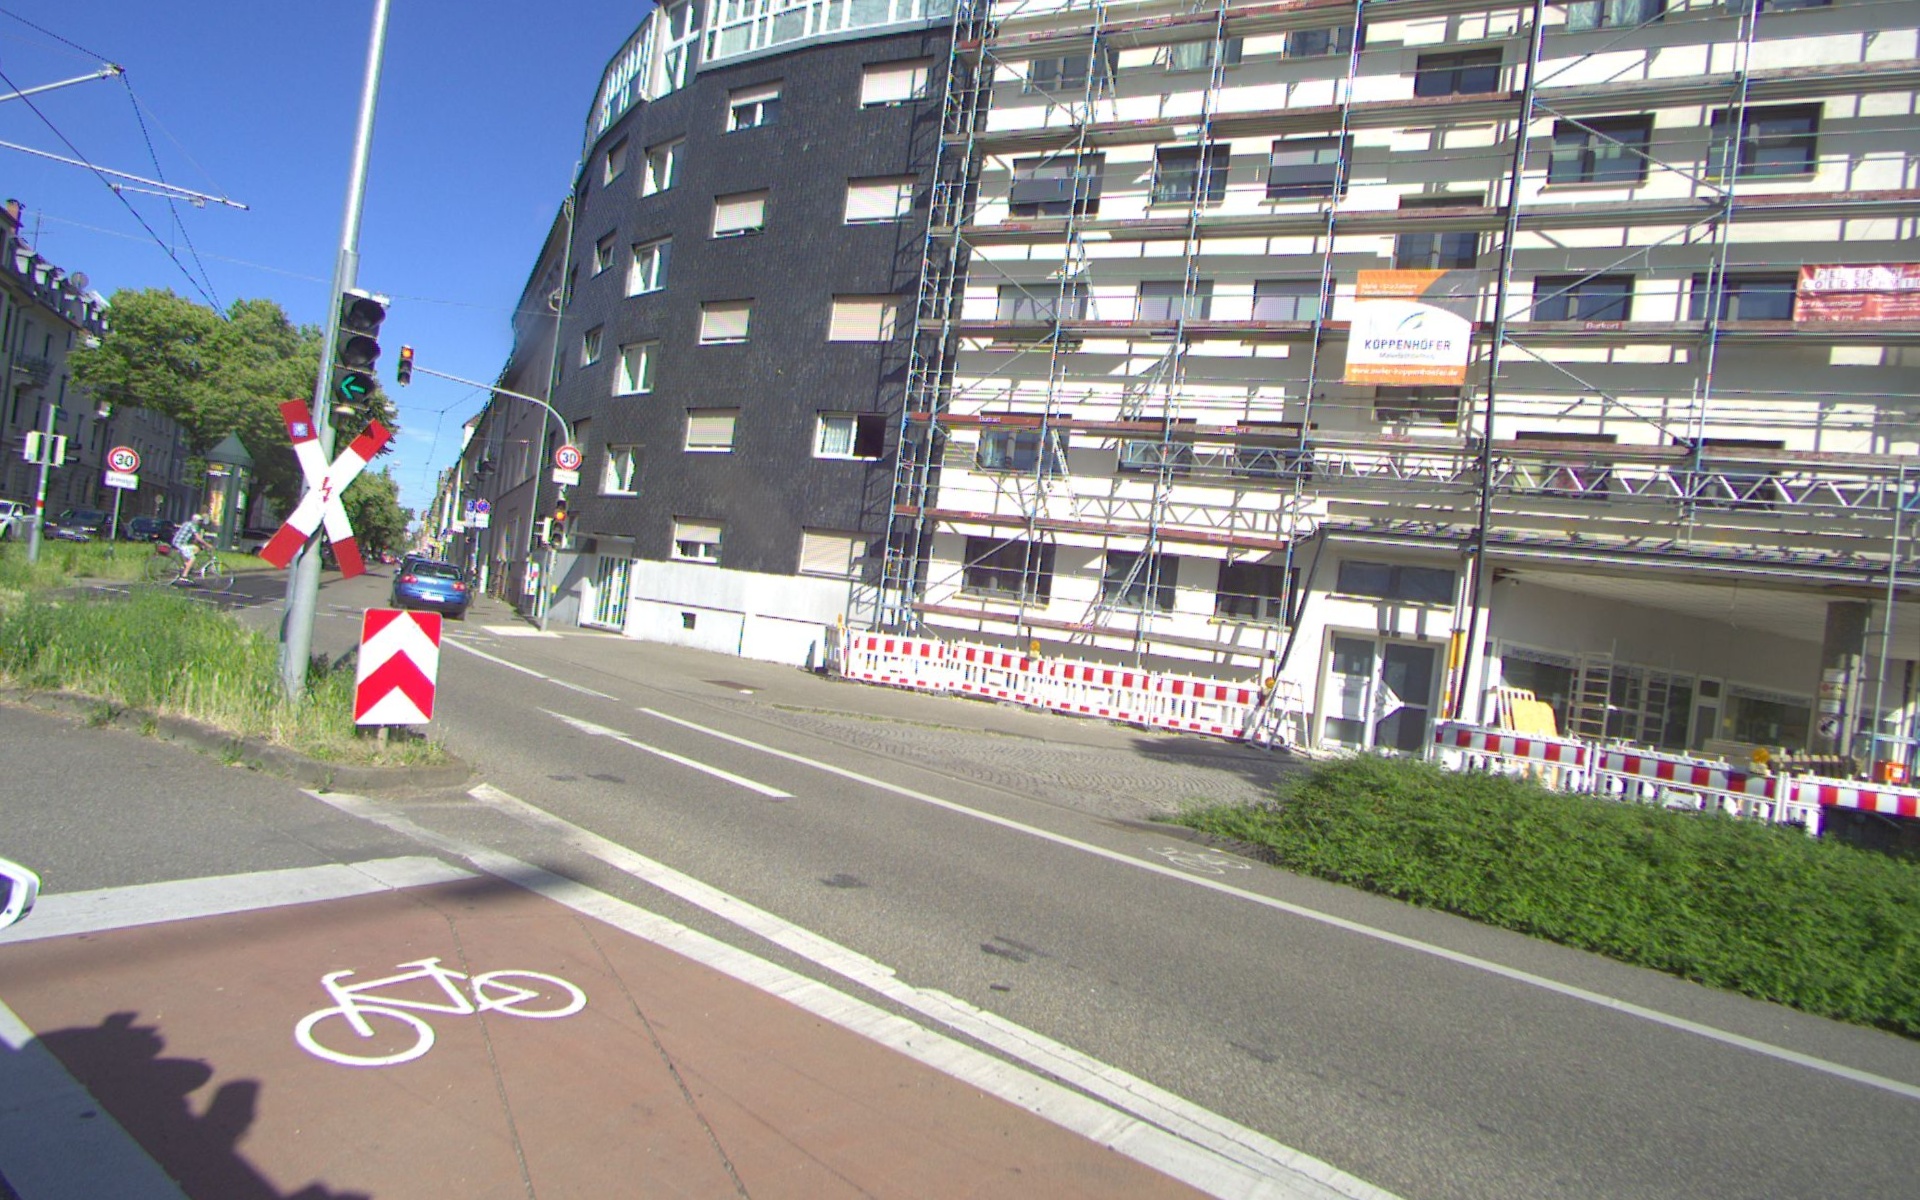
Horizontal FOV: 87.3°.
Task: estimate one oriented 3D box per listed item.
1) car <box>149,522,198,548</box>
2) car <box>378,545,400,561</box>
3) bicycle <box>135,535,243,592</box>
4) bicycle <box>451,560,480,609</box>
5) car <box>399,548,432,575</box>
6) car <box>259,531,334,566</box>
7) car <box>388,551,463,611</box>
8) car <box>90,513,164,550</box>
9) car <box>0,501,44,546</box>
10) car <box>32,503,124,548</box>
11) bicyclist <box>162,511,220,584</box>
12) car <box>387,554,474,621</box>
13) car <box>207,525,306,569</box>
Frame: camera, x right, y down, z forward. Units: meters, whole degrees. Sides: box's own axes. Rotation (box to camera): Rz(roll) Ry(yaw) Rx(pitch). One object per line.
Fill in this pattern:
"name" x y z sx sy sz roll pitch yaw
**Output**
"car" -54.929 -4.537 70.365 1.979 1.411 3.970 9 -2 -29
"car" -76.067 -6.237 134.047 1.975 1.821 3.978 8 -2 -24
"bicycle" -18.149 -0.846 23.726 0.580 1.044 1.853 7 -2 35
"bicycle" -16.667 -0.551 33.875 0.569 1.528 2.786 8 -1 -30
"car" -41.427 -2.873 76.595 1.978 1.635 3.974 9 -3 -28
"car" -45.305 -3.492 68.765 3.763 1.806 1.835 8 -1 -17
"car" -16.907 -0.626 31.741 1.806 1.526 3.969 8 -1 -30
"car" -43.539 -3.568 52.678 1.977 1.504 3.974 8 -2 -27
"car" -34.705 -2.834 36.081 1.776 1.500 3.507 8 -2 -28
"car" -38.997 -3.252 44.579 1.977 1.490 3.974 8 -2 -27
"bicyclist" -18.118 -1.224 23.707 0.553 1.577 0.821 7 -1 36
"car" -14.512 -0.373 27.469 1.763 1.459 3.590 9 -2 -31
"car" -36.036 -2.723 51.553 3.924 1.612 1.913 7 -1 13
